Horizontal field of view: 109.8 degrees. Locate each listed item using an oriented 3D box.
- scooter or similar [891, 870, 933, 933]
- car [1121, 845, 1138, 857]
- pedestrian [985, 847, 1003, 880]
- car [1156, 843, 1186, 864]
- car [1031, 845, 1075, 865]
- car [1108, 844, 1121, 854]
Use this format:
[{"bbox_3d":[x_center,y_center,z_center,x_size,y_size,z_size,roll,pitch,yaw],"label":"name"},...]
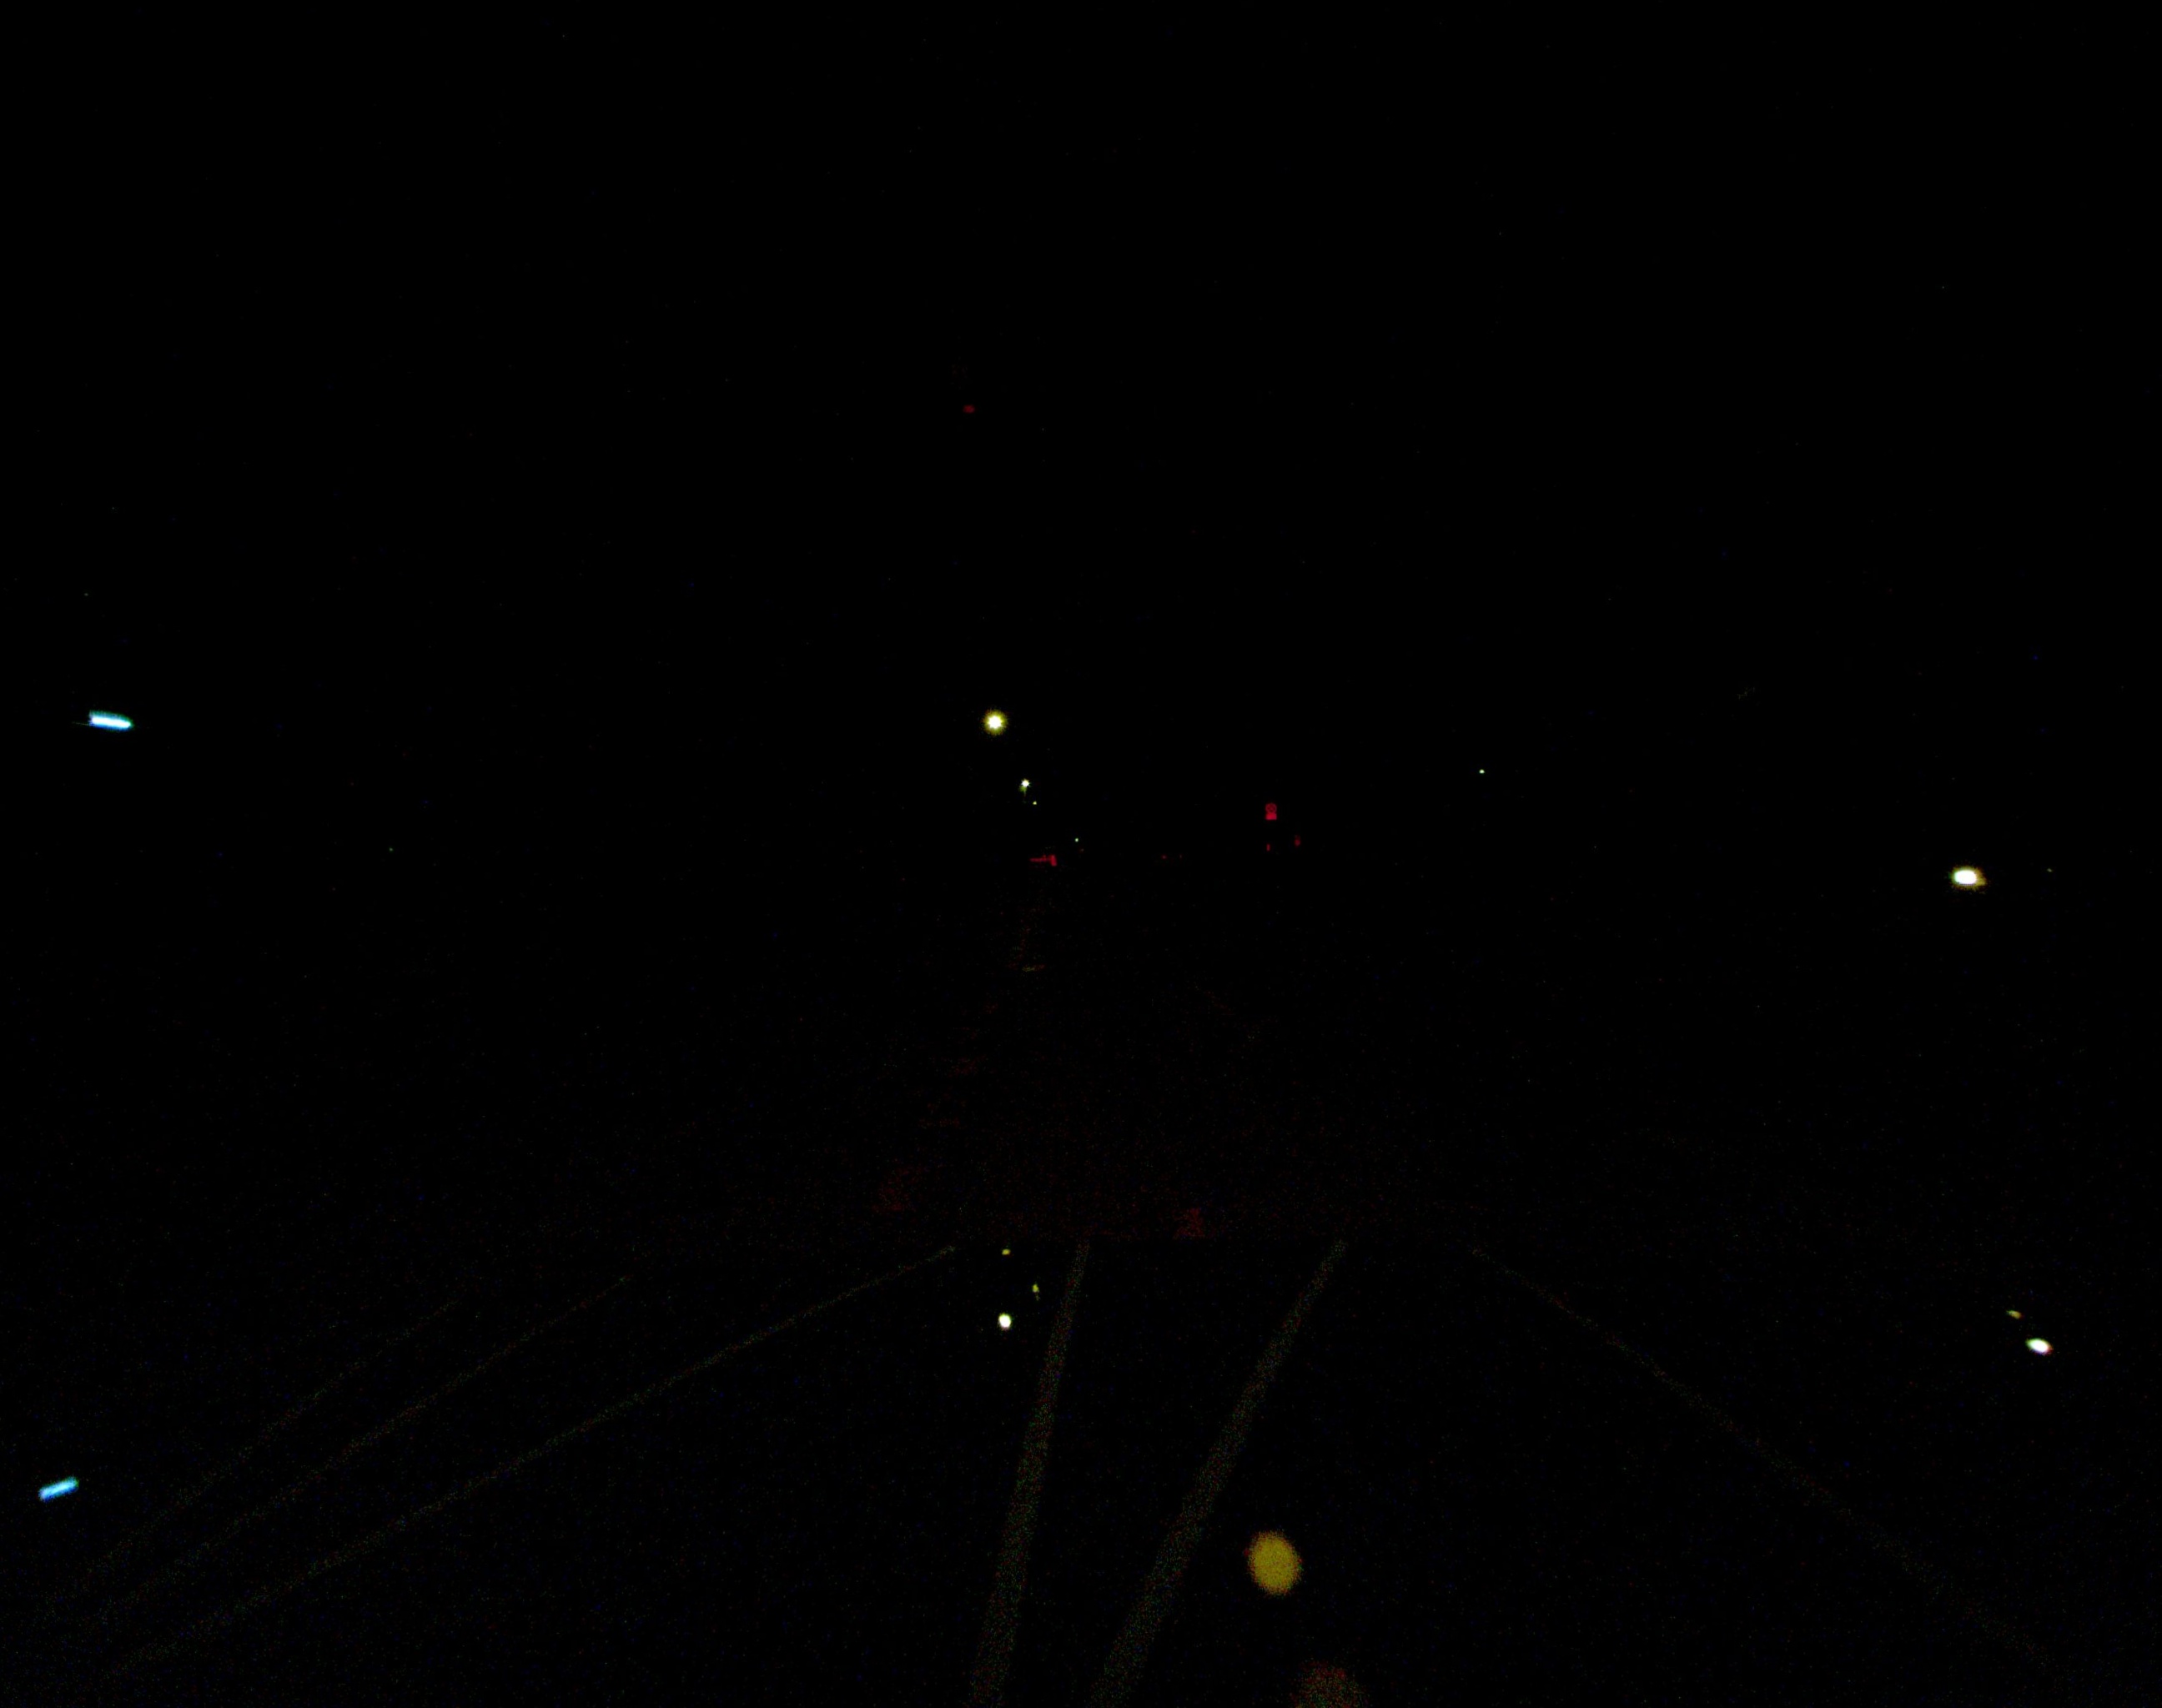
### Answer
[{"bbox_3d":[-3.613,0.988,16.366,0.570,1.271,1.391,0,0,0],"label":"scooter or similar"},{"bbox_3d":[6.391,-0.410,100.485,1.911,1.445,3.999,-3,2,1],"label":"car"},{"bbox_3d":[-4.855,0.517,42.315,0.824,1.809,0.608,-3,2,1],"label":"pedestrian"},{"bbox_3d":[7.212,-0.066,60.998,1.911,1.445,3.999,-3,2,1],"label":"car"},{"bbox_3d":[-2.583,0.063,70.807,3.997,1.821,1.912,0,2,0],"label":"car"},{"bbox_3d":[5.185,-0.780,118.436,1.911,1.445,3.999,-3,2,1],"label":"car"}]
